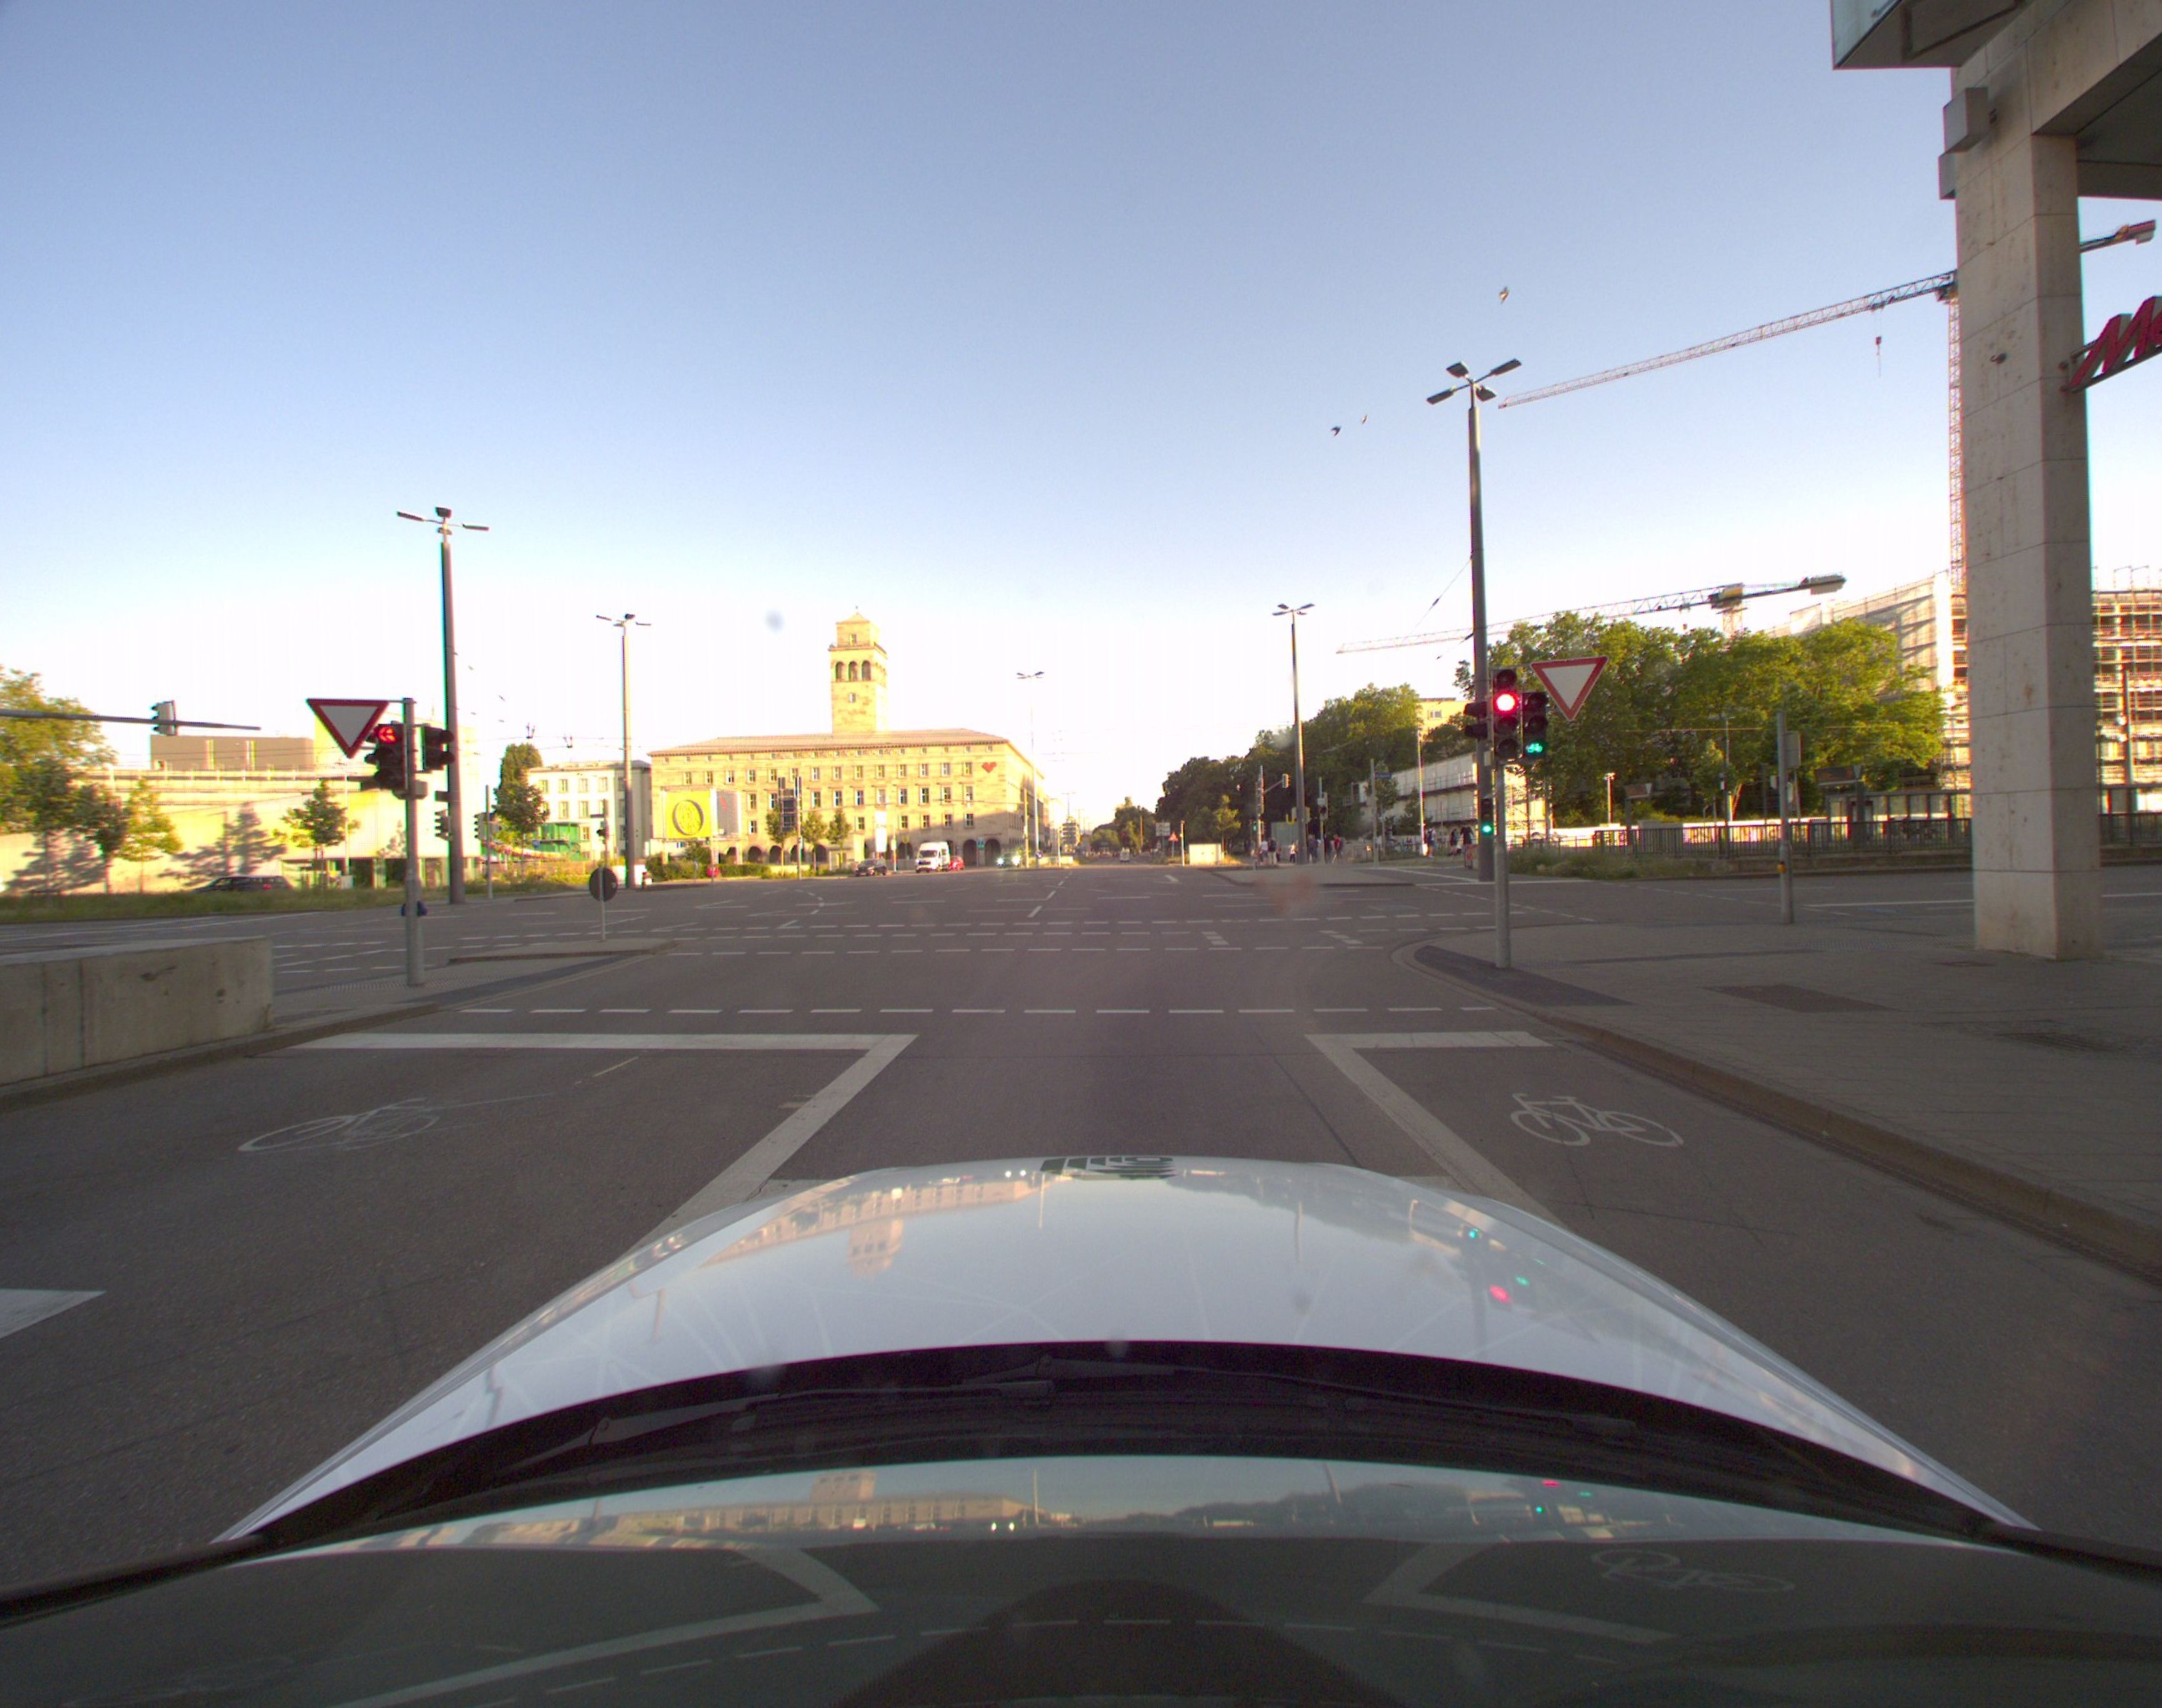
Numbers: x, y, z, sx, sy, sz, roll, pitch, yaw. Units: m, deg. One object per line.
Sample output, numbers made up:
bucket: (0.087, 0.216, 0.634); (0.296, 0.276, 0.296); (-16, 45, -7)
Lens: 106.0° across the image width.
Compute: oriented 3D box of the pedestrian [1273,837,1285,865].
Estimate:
pedestrian: (12.259, -0.171, 50.419); (0.705, 1.725, 0.671); (-2, 1, 15)

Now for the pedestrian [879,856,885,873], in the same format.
pedestrian: (-20.908, 1.130, 85.575); (0.620, 1.744, 0.459); (0, -1, -4)

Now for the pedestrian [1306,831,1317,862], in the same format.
pedestrian: (13.250, -0.426, 46.888); (0.568, 1.791, 0.641); (-2, 1, 16)

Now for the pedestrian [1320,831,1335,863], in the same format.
pedestrian: (14.080, -0.424, 46.524); (0.799, 1.791, 0.804); (-2, 1, 16)

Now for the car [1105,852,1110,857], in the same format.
car: (7.701, 0.183, 235.098); (1.366, 1.234, 3.043); (-2, 1, -2)

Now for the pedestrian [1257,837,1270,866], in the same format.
pedestrian: (11.348, -0.164, 50.651); (0.705, 1.725, 0.671); (-2, 1, 15)

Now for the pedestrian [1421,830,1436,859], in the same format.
pedestrian: (18.999, -0.512, 44.499); (0.569, 1.592, 0.537); (-2, 0, 1)

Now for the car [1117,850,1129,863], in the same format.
car: (5.807, 0.309, 113.355); (1.479, 1.696, 2.973); (-2, 0, -1)

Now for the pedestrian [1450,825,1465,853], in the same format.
pedestrian: (20.257, -0.795, 43.790); (0.670, 1.441, 0.718); (-2, 0, 24)

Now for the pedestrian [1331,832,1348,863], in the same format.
pedestrian: (14.670, -0.374, 46.240); (0.838, 1.734, 0.708); (-2, 1, 14)

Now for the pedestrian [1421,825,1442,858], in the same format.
pedestrian: (18.580, -0.658, 43.191); (0.671, 1.725, 0.705); (-2, 0, -35)

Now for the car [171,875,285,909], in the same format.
car: (-46.287, 2.048, 44.261); (4.113, 1.604, 1.742); (-2, 0, -5)

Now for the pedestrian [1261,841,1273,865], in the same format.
pedestrian: (13.772, -0.096, 60.329); (0.673, 1.757, 0.907); (-2, 1, 22)

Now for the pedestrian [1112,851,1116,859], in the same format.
pedestrian: (7.979, 0.239, 194.552); (0.903, 1.671, 1.307); (-2, 1, 1)

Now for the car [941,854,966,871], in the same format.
car: (-12.729, 0.824, 81.292); (1.732, 1.487, 4.002); (-2, 1, 2)

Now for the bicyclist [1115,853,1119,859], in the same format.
bicyclist: (9.770, 0.482, 222.666); (0.831, 1.463, 0.657); (-2, 0, -14)

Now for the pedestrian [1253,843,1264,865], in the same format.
pedestrian: (13.202, 0.000, 60.602); (0.555, 1.654, 0.907); (-2, 1, 22)

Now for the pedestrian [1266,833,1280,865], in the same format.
pedestrian: (10.805, -0.279, 45.846); (0.706, 1.725, 0.918); (-2, 1, 14)

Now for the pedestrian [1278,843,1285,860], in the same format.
pedestrian: (21.331, -0.278, 86.645); (0.662, 1.842, 0.714); (-2, 1, 7)

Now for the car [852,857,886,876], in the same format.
car: (-18.406, 1.100, 70.852); (1.817, 1.466, 4.158); (-2, 1, 0)

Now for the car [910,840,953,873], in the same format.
car: (-13.287, 0.213, 72.985); (2.269, 2.776, 6.090); (-2, 0, 4)

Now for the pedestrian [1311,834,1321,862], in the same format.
pedestrian: (13.915, -0.364, 48.233); (0.568, 1.678, 0.641); (-2, 1, 16)

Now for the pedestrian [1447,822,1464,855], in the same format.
pedestrian: (19.787, -0.806, 43.038); (0.705, 1.725, 0.672); (-2, 0, 19)

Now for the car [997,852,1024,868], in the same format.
car: (-6.275, 0.514, 72.903); (1.815, 1.341, 4.005); (-2, 1, 4)

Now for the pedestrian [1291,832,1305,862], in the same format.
pedestrian: (12.742, -0.405, 47.796); (0.705, 1.725, 0.919); (-2, 1, 15)

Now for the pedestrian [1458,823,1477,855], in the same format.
pedestrian: (21.365, -0.844, 44.996); (0.708, 1.725, 0.668); (-2, 0, 0)

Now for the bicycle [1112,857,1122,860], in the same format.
bicycle: (9.885, 1.181, 222.688); (2.605, 0.959, 0.512); (0, -1, -14)

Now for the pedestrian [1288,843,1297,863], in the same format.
pedestrian: (15.592, -0.053, 60.025); (0.568, 1.437, 0.641); (-2, 1, 13)
